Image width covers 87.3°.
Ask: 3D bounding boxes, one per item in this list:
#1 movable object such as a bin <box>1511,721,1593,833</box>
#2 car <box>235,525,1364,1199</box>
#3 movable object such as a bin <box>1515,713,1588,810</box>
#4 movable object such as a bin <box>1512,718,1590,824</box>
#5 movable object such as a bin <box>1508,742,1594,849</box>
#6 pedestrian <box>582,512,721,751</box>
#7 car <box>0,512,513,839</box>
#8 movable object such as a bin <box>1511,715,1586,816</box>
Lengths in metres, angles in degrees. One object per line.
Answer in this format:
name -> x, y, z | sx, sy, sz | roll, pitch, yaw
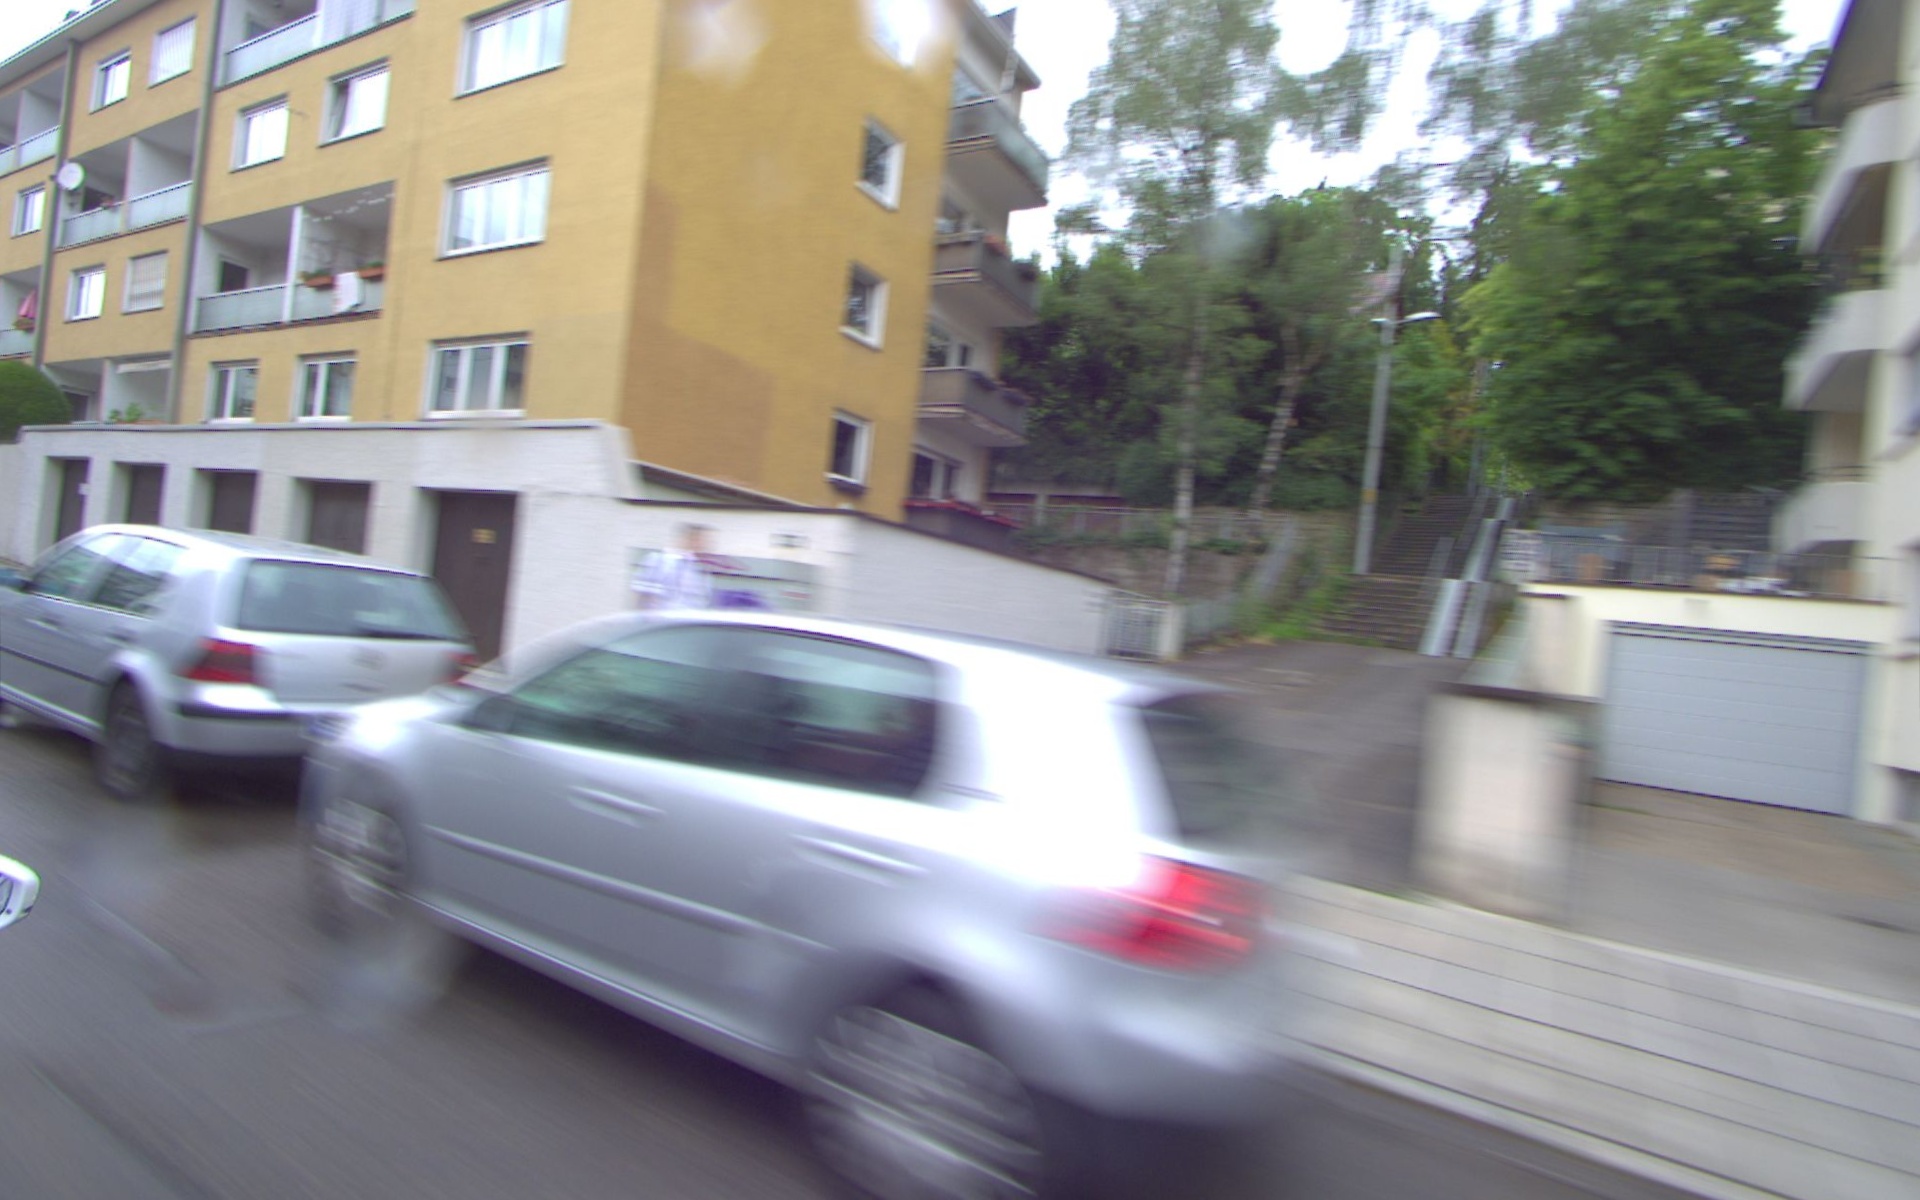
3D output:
movable object such as a bin -> 6.487, 1.922, 11.054 | 0.655, 1.054, 0.578 | 6, 2, 28
car -> -0.743, 0.713, 3.751 | 3.855, 1.520, 1.666 | 7, -1, 30
movable object such as a bin -> 7.390, 2.004, 12.593 | 0.655, 1.054, 0.523 | 6, 2, 29
movable object such as a bin -> 6.787, 1.947, 11.578 | 0.655, 1.054, 0.578 | 6, 2, 28
movable object such as a bin -> 6.005, 1.965, 10.256 | 0.641, 0.888, 0.742 | 6, 1, 28
pedestrian -> -2.456, 0.233, 8.090 | 0.730, 1.756, 0.767 | 7, 3, -3
car -> -4.898, 0.313, 6.469 | 3.855, 1.416, 1.666 | 7, -1, 30
movable object such as a bin -> 7.075, 1.974, 12.116 | 0.655, 1.054, 0.578 | 6, 2, 28
